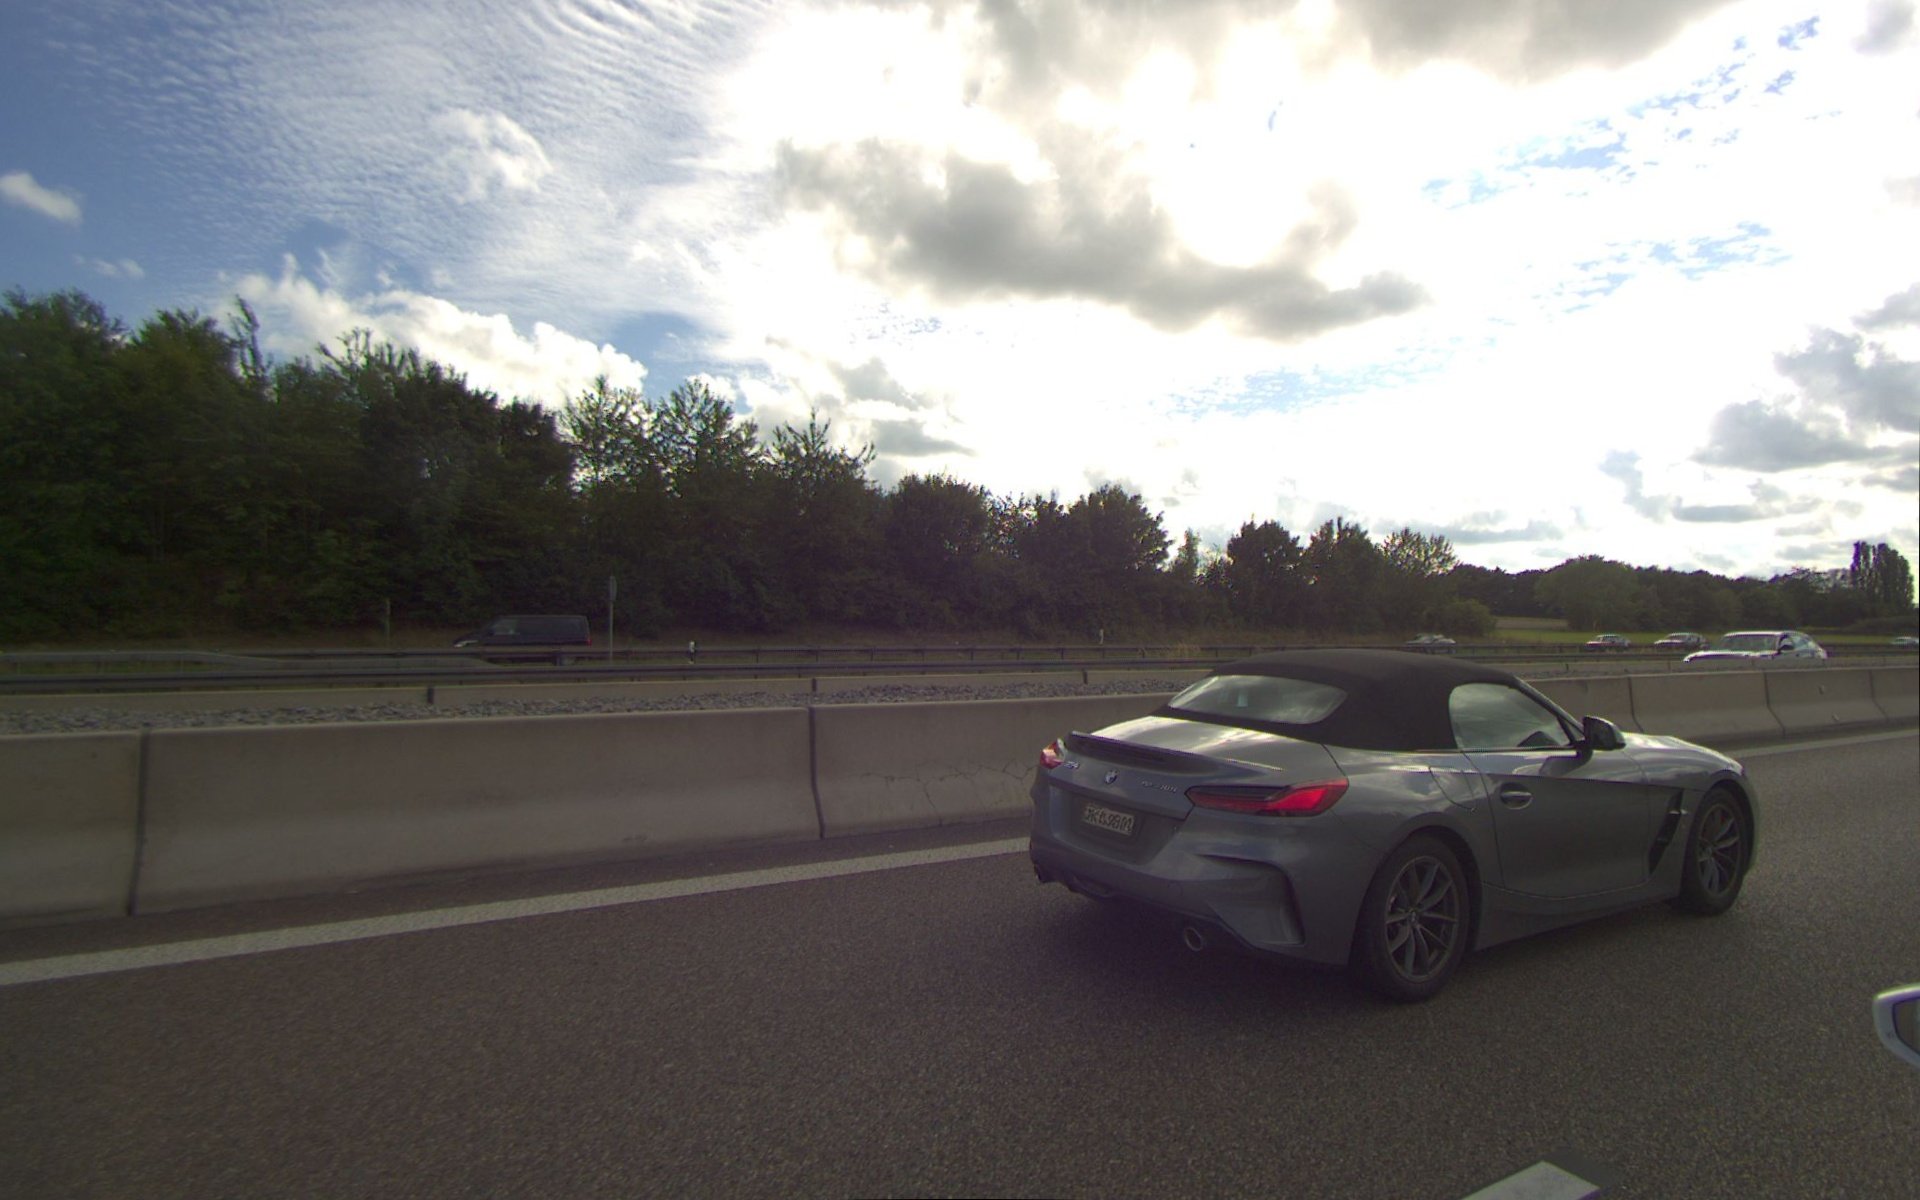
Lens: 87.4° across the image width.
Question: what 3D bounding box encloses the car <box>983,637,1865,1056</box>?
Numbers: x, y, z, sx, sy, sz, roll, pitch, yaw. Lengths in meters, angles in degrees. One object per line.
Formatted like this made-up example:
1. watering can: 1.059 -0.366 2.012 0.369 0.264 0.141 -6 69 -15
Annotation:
1. car: 2.678 0.886 5.370 4.885 1.320 1.864 1 -1 -31

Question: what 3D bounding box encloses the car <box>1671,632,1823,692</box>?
1. car: 20.375 1.564 25.975 4.026 1.421 1.749 1 -1 -30

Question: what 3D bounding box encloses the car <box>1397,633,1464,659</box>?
1. car: 30.213 2.946 64.431 4.400 1.554 1.720 1 -1 -30

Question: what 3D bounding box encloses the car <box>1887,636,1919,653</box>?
1. car: 89.798 4.170 95.125 4.400 1.554 1.720 1 -1 -30

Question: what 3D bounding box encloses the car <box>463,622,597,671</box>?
1. car: -15.808 1.685 36.968 4.367 1.684 1.873 1 -2 -30

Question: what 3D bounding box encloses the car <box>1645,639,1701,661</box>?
1. car: 52.067 3.642 73.337 4.400 1.554 1.720 1 -1 -30

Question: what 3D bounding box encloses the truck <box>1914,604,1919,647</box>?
1. truck: 109.801 2.898 112.450 5.011 4.720 3.032 1 -1 -30
